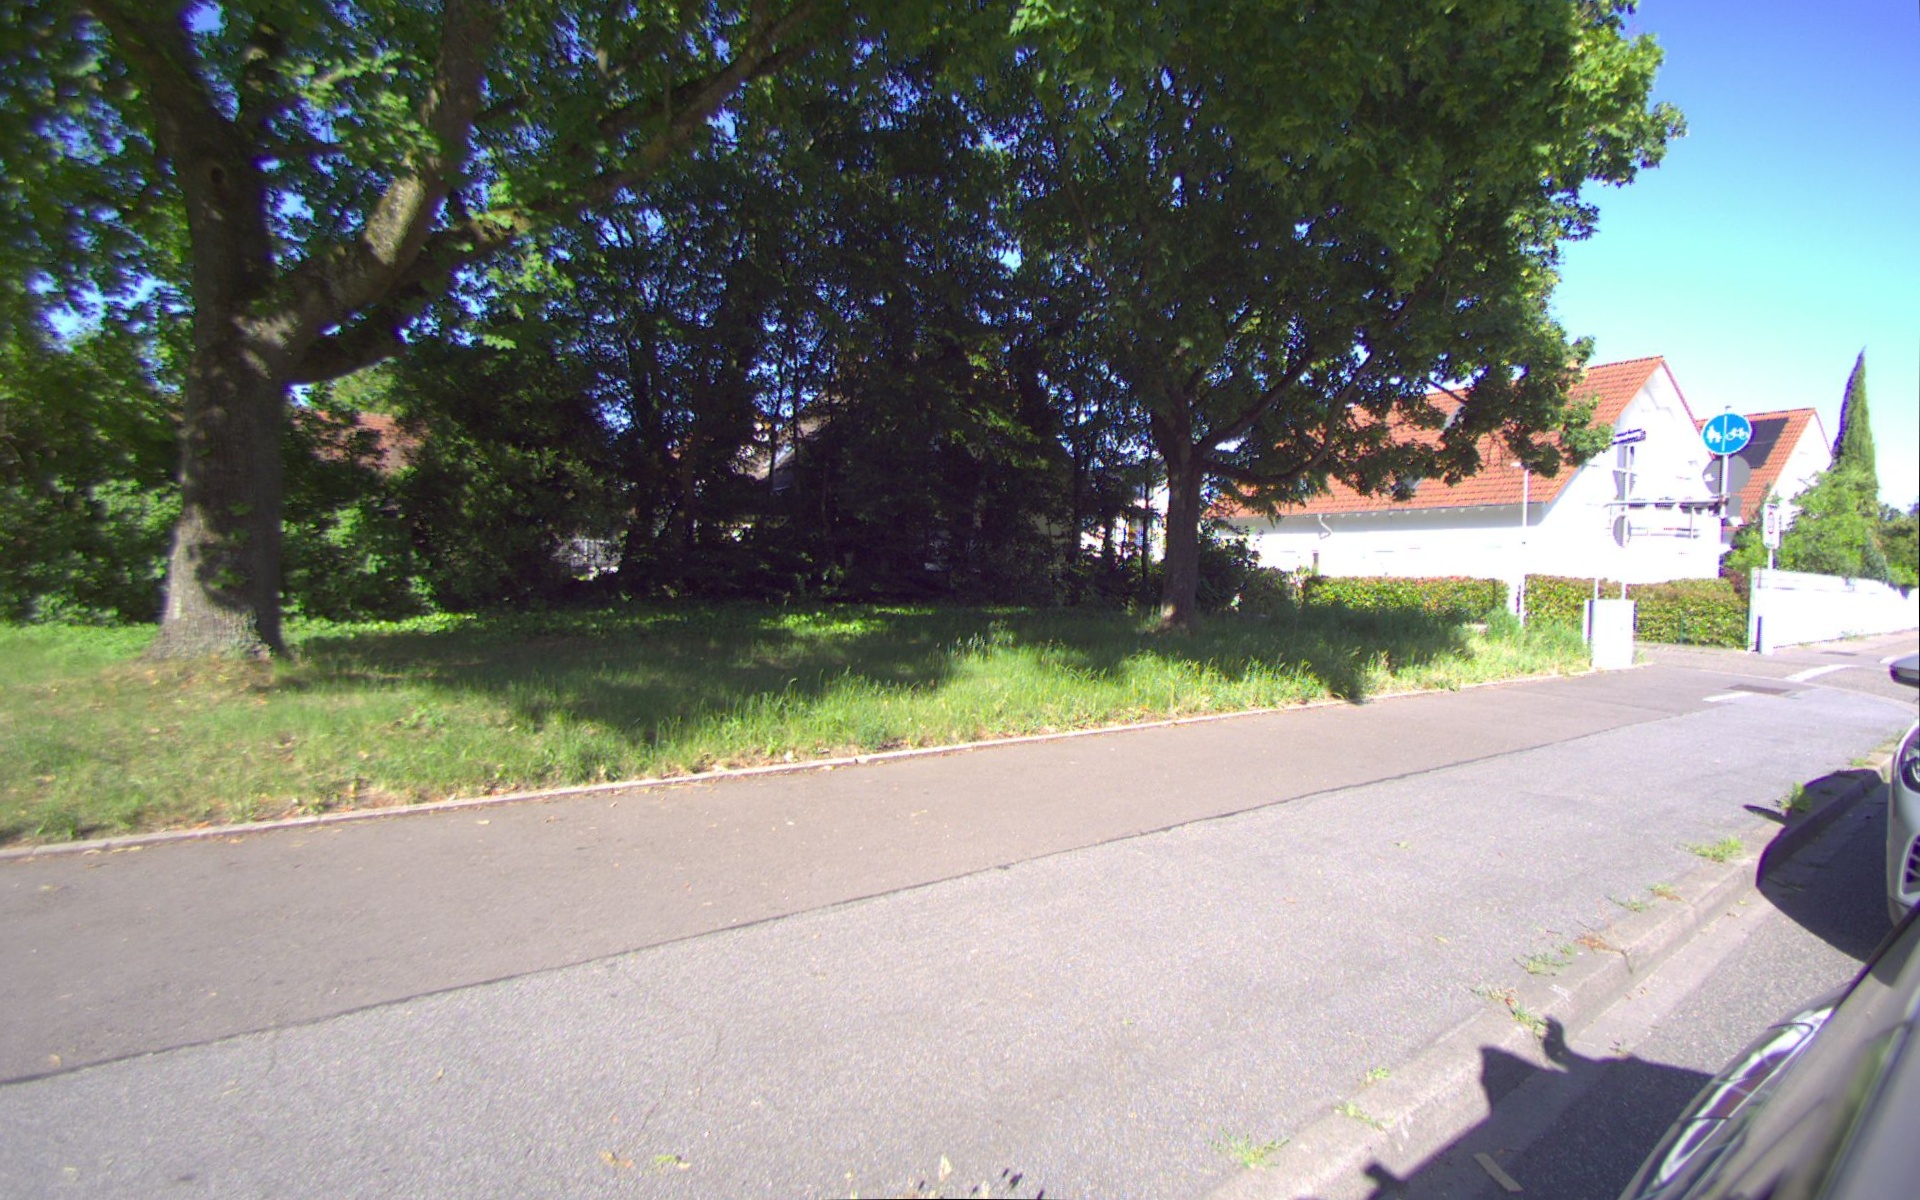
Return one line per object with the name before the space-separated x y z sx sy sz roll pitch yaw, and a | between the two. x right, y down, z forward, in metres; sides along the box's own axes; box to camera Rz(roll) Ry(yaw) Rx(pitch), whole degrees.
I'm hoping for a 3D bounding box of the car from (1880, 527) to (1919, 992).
car | 5.637 0.610 4.430 4.133 1.710 1.857 0 3 -41
